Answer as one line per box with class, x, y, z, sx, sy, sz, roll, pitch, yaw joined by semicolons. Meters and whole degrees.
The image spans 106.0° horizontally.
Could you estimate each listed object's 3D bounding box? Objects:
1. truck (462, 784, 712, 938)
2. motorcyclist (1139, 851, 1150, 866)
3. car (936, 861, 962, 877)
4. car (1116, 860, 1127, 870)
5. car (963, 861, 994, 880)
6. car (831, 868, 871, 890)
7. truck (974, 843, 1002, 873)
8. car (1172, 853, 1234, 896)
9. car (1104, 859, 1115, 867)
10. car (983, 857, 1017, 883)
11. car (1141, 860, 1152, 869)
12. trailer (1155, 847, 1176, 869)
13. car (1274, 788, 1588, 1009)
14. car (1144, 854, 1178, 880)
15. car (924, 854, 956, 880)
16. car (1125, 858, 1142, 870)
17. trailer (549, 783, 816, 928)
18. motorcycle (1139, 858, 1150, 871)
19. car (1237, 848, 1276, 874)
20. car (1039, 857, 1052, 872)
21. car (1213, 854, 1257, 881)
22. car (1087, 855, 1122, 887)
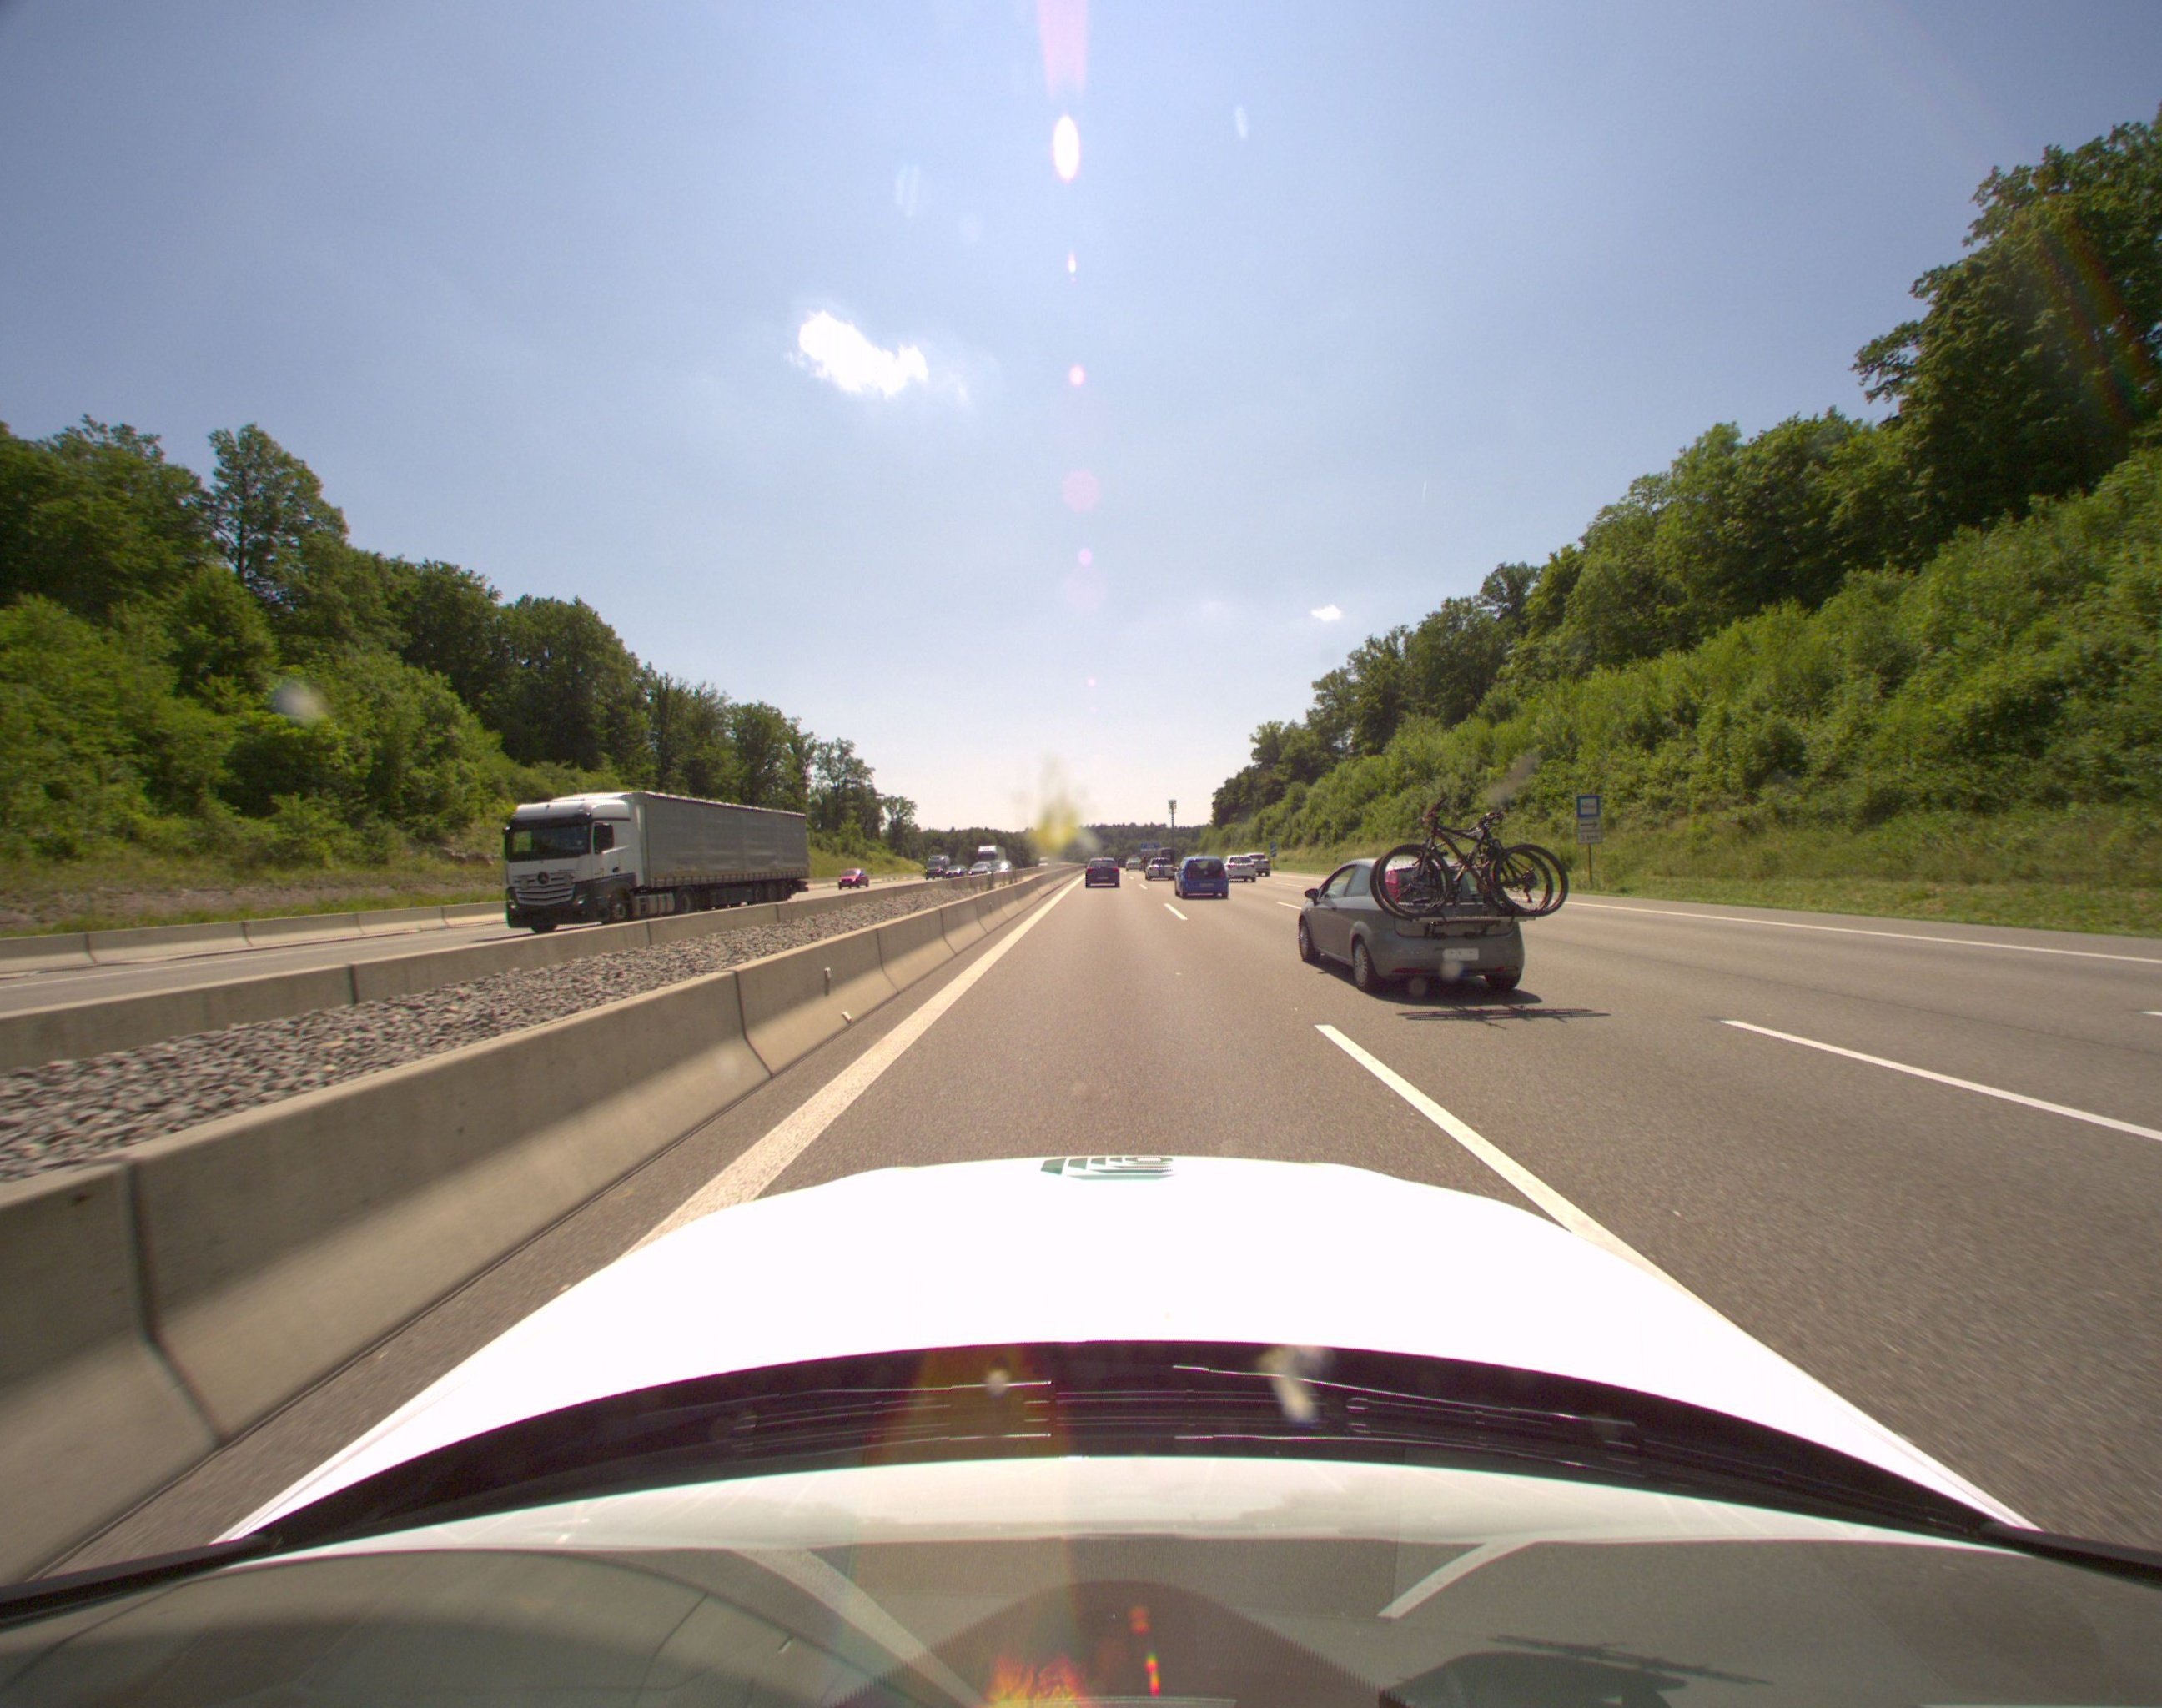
truck;-14.694;0.195;25.061;3.253;3.982;6.799;-2;0;1
motorcyclist;6.182;0.454;79.522;0.959;1.437;1.235;-3;-1;0
car;-12.619;1.400;78.090;1.661;1.407;4.441;-2;0;1
car;8.102;2.192;164.418;2.090;1.851;4.081;-2;-1;1
car;-9.165;1.498;73.280;2.021;1.505;5.439;-4;-1;-1
car;-17.543;1.865;62.290;1.864;1.500;3.721;-2;0;1
truck;-13.327;0.626;117.372;2.885;4.069;7.788;-2;0;0
car;4.342;0.740;29.510;1.731;1.411;4.001;-2;-1;2
car;6.328;1.925;180.063;1.989;1.684;4.419;0;0;-3
car;-5.902;1.121;59.519;1.864;1.777;4.469;-2;0;1
car;11.851;1.880;148.483;1.670;1.431;3.684;-2;0;0
trailer;15.956;0.829;154.689;2.847;3.688;13.542;-2;-2;1
car;3.894;0.422;10.147;1.954;2.053;4.786;-2;0;2
car;4.991;0.780;51.329;1.834;1.552;4.002;2;0;2
car;-15.848;1.453;91.717;2.133;2.663;6.781;-3;-1;1
car;6.029;1.181;94.070;1.775;1.265;3.462;-2;0;2
trailer;-14.414;0.072;31.750;3.089;4.253;13.843;-3;0;1
motorcycle;6.182;1.018;79.525;0.974;1.129;2.272;-2;0;1
car;12.657;0.496;58.970;1.794;1.731;5.240;0;0;1
car;-7.027;2.016;161.161;2.079;2.800;7.600;-4;-1;0
car;8.654;0.733;46.142;1.660;1.433;4.376;-2;0;1
car;1.192;0.822;41.025;1.618;1.487;3.687;-1;0;2
